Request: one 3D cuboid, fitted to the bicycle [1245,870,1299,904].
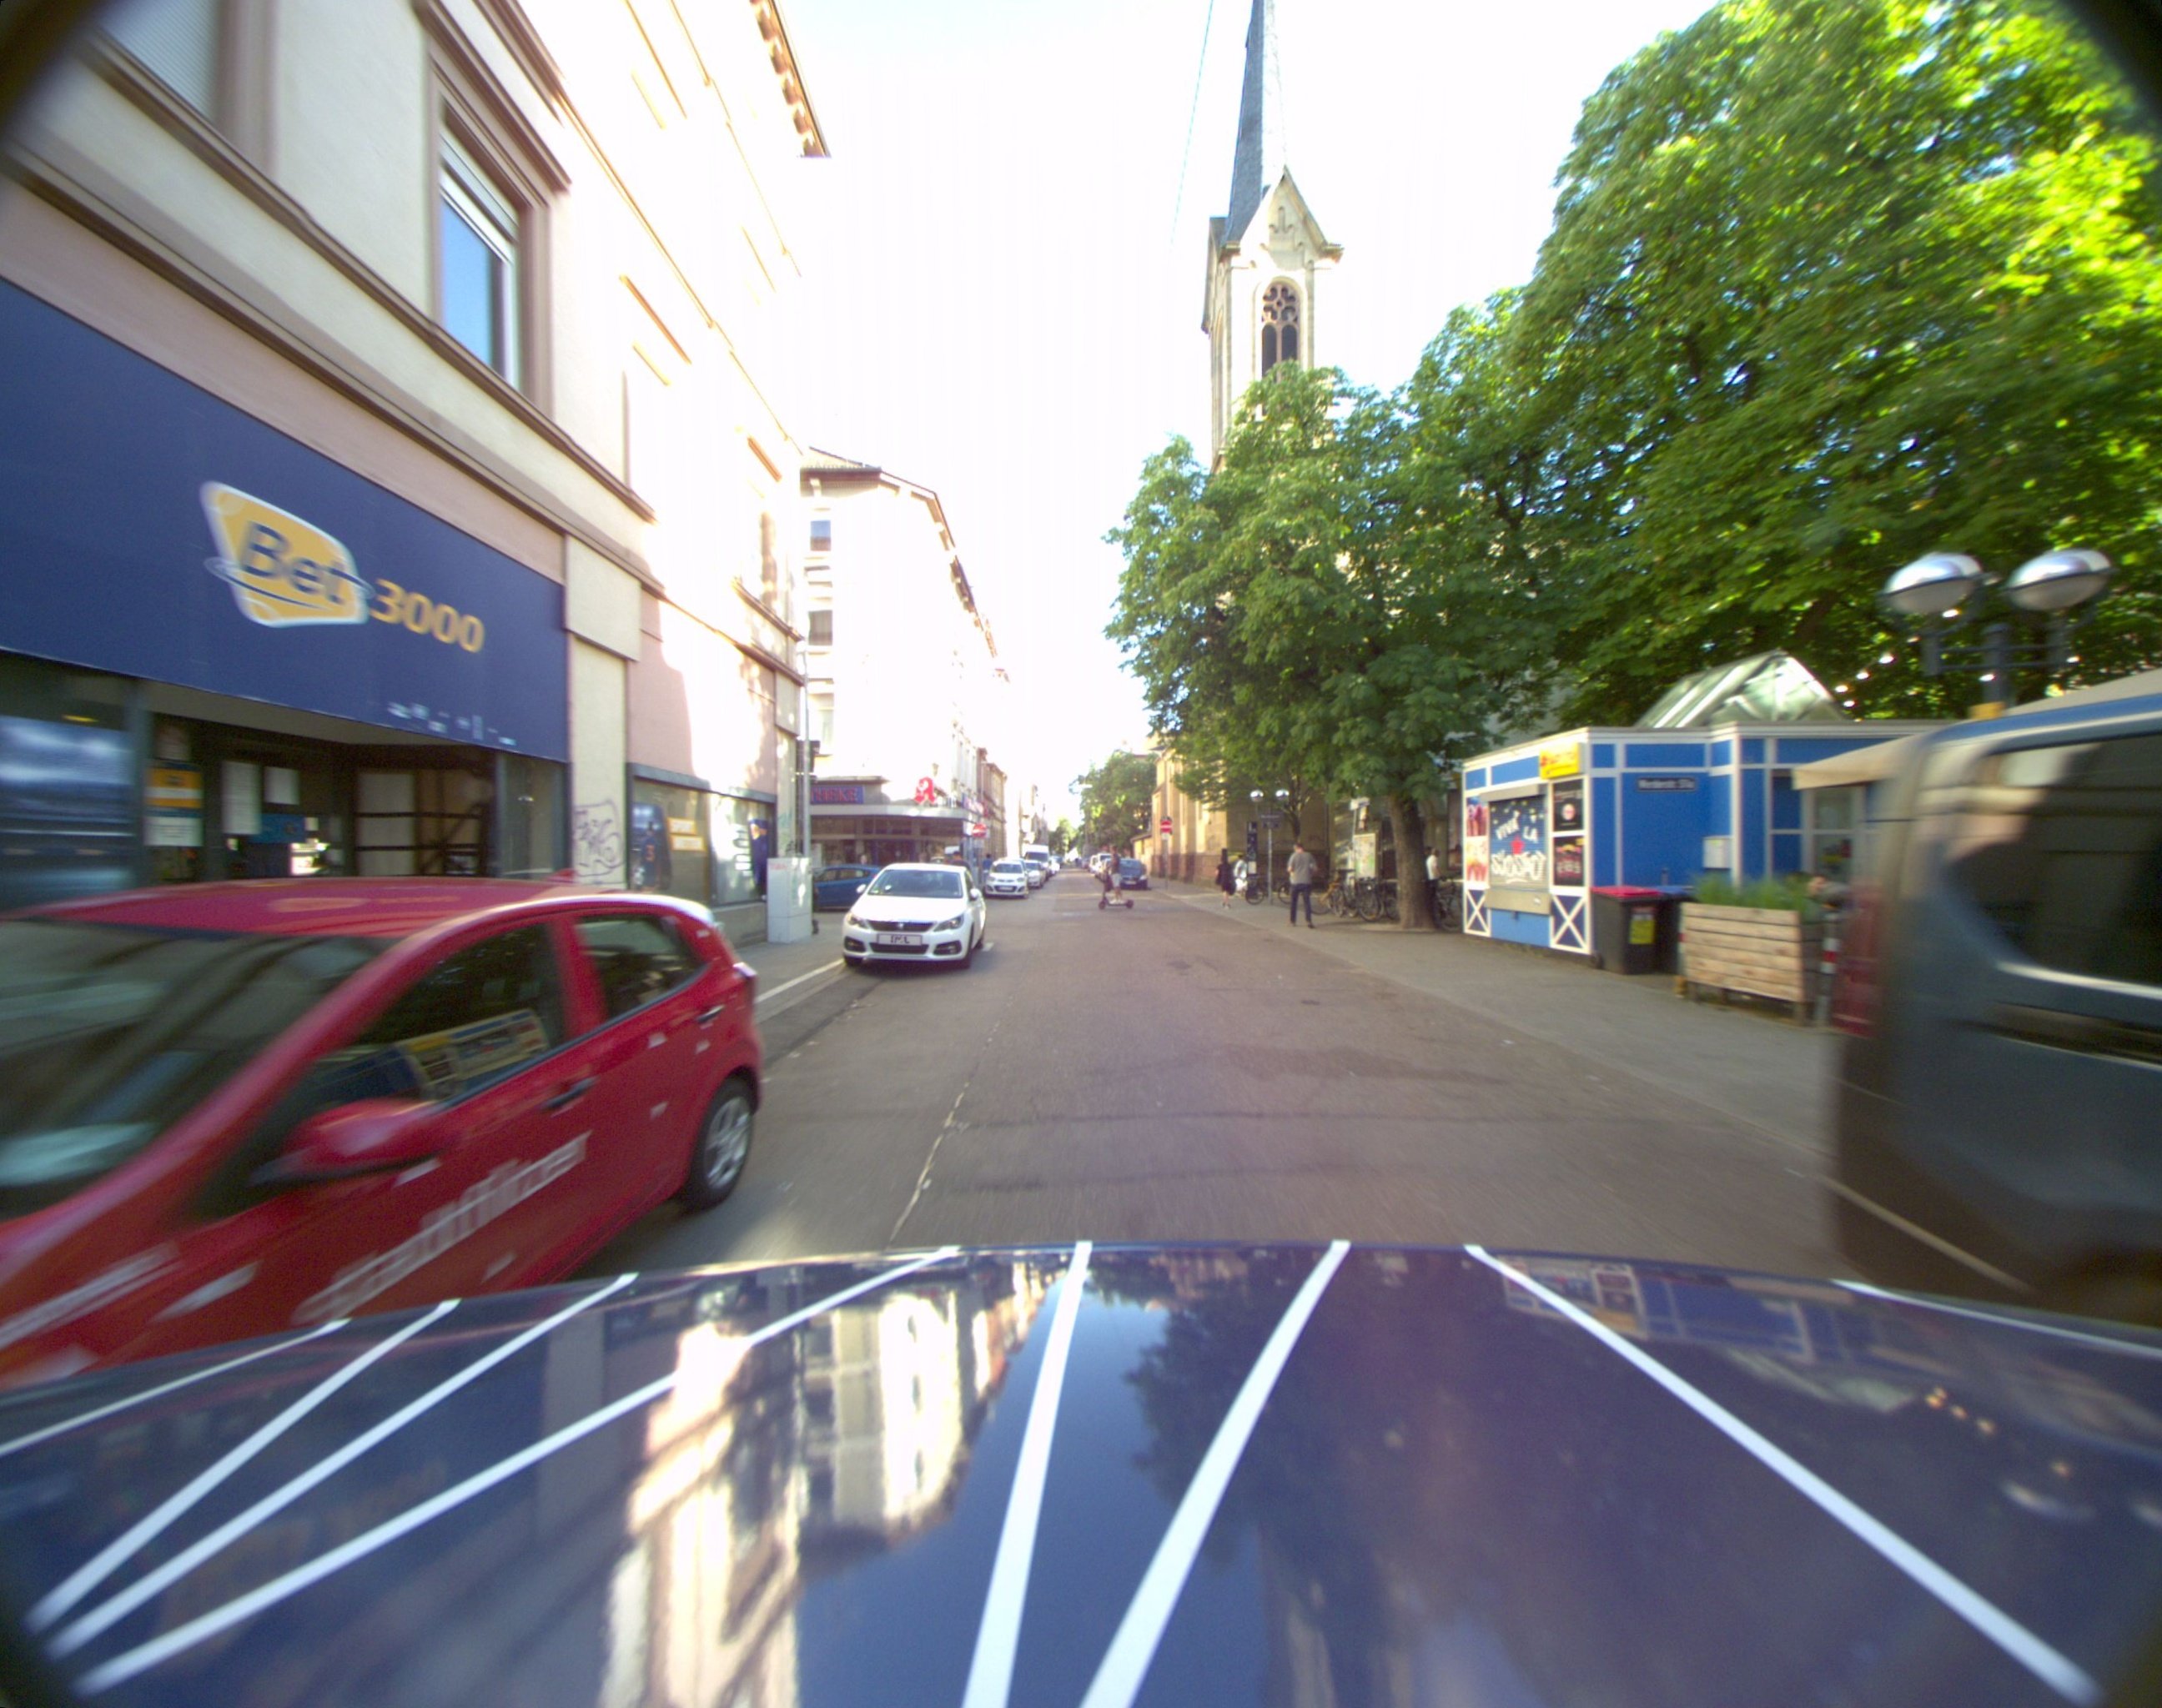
[{"bbox_3d":[6.290,1.069,25.012,1.694,1.059,0.346,-2,1,-2],"label":"bicycle"}]

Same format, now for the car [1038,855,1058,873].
[{"bbox_3d":[-3.025,0.913,71.150,1.696,1.615,3.963,-1,0,0],"label":"car"}]

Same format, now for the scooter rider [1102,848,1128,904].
[{"bbox_3d":[1.021,0.662,23.003,0.689,1.638,0.720,-2,1,-2],"label":"scooter rider"}]

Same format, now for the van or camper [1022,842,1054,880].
[{"bbox_3d":[-3.145,0.448,56.765,1.999,2.617,5.978,-2,1,0],"label":"van or camper"}]

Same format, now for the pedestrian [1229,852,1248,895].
[{"bbox_3d":[5.929,0.737,28.588,0.480,1.584,0.714,-2,1,-4],"label":"pedestrian"}]

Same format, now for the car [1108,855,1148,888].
[{"bbox_3d":[2.375,0.876,39.490,1.798,1.543,3.833,-2,1,0],"label":"car"}]

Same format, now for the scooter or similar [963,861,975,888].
[{"bbox_3d":[-5.475,0.974,37.217,0.396,1.272,1.036,-2,1,-1],"label":"scooter or similar"}]

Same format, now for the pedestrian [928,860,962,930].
[{"bbox_3d":[-3.266,0.979,18.231,0.527,1.629,0.566,0,2,44],"label":"pedestrian"}]

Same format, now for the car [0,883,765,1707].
[{"bbox_3d":[-2.396,0.970,2.039,1.611,1.563,3.553,-2,1,-1],"label":"car"}]

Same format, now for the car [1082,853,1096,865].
[{"bbox_3d":[1.080,0.722,105.901,1.777,1.614,4.021,-1,0,-2],"label":"car"}]

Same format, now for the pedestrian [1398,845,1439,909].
[{"bbox_3d":[9.792,0.648,22.069,0.695,1.815,1.003,-2,1,-2],"label":"pedestrian"}]

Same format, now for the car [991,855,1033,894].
[{"bbox_3d":[-3.167,0.919,35.635,1.704,1.641,4.062,-2,1,-2],"label":"car"}]

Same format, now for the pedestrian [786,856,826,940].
[{"bbox_3d":[-5.514,0.863,15.215,0.599,1.640,0.466,-1,-2,30],"label":"pedestrian"}]

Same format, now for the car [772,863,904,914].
[{"bbox_3d":[-7.557,1.069,23.895,3.583,1.477,1.788,0,1,-1],"label":"car"}]

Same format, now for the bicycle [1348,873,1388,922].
[{"bbox_3d":[6.622,0.980,17.579,0.293,1.040,1.578,-2,-1,-1],"label":"bicycle"}]

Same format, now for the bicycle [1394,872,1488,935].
[{"bbox_3d":[7.133,0.947,15.170,0.499,1.124,2.035,-2,0,-14],"label":"bicycle"}]

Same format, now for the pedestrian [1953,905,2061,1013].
[{"bbox_3d":[10.156,1.139,8.346,0.657,1.114,0.425,-1,1,0],"label":"pedestrian"}]

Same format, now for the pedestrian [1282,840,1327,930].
[{"bbox_3d":[4.649,0.625,15.855,0.648,1.823,0.697,-3,1,-1],"label":"pedestrian"}]

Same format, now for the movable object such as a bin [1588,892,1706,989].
[{"bbox_3d":[6.954,1.040,9.376,0.872,1.080,0.774,-2,1,0],"label":"movable object such as a bin"}]

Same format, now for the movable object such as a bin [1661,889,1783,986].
[{"bbox_3d":[7.873,1.006,9.369,0.872,1.080,0.745,-2,1,0],"label":"movable object such as a bin"}]

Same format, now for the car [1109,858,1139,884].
[{"bbox_3d":[2.482,0.944,44.536,1.576,1.356,4.146,-1,1,1],"label":"car"}]

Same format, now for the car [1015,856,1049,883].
[{"bbox_3d":[-3.224,1.004,50.907,1.999,1.637,4.562,-2,1,0],"label":"car"}]

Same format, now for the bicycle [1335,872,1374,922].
[{"bbox_3d":[6.300,0.962,17.578,0.293,1.076,1.578,-2,0,-1],"label":"bicycle"}]

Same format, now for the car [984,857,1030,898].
[{"bbox_3d":[-2.949,0.918,30.788,1.694,1.454,3.639,-2,1,-4],"label":"car"}]

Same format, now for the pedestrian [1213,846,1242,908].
[{"bbox_3d":[4.544,0.700,23.623,0.718,1.862,0.720,-2,1,-1],"label":"pedestrian"}]

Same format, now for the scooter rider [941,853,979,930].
[{"bbox_3d":[-2.872,0.879,18.016,0.609,1.768,0.566,0,2,39],"label":"scooter rider"}]

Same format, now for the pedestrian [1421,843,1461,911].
[{"bbox_3d":[9.909,0.619,20.932,0.763,1.825,0.688,-2,1,-3],"label":"pedestrian"}]

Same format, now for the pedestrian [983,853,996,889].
[{"bbox_3d":[-4.755,0.876,39.406,0.563,1.883,0.530,-2,1,-1],"label":"pedestrian"}]

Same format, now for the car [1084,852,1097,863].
[{"bbox_3d":[1.491,0.498,116.776,1.777,1.614,4.021,-1,0,-2],"label":"car"}]

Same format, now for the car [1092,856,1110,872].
[{"bbox_3d":[1.971,0.990,76.696,1.696,1.529,3.813,-1,0,0],"label":"car"}]

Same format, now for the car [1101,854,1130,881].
[{"bbox_3d":[2.217,0.849,49.493,1.724,1.558,3.999,-1,1,0],"label":"car"}]

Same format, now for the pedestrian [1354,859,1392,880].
[{"bbox_3d":[11.577,0.615,30.193,0.959,0.756,1.406,-2,1,-1],"label":"pedestrian"}]

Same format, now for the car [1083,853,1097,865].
[{"bbox_3d":[1.285,0.720,110.923,1.777,1.614,4.021,-1,0,-2],"label":"car"}]

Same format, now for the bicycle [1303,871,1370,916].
[{"bbox_3d":[6.476,1.003,19.305,1.576,1.076,0.347,-1,1,10],"label":"bicycle"}]

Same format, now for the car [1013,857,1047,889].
[{"bbox_3d":[-2.698,0.999,41.051,1.558,1.518,4.200,-2,1,0],"label":"car"}]

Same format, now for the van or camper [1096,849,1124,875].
[{"bbox_3d":[2.257,0.616,60.809,1.984,1.939,4.562,-1,0,0],"label":"van or camper"}]

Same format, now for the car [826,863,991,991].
[{"bbox_3d":[-2.477,0.973,11.908,1.792,1.507,4.135,-2,1,-3],"label":"car"}]

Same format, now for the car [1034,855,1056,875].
[{"bbox_3d":[-3.069,0.935,65.738,1.696,1.615,3.813,-1,0,0],"label":"car"}]

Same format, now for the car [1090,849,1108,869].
[{"bbox_3d":[1.883,0.534,82.295,1.777,2.128,4.022,-1,0,0],"label":"car"}]

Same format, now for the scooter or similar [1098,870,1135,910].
[{"bbox_3d":[1.054,1.087,22.990,1.057,1.153,0.514,-2,1,-2],"label":"scooter or similar"}]
